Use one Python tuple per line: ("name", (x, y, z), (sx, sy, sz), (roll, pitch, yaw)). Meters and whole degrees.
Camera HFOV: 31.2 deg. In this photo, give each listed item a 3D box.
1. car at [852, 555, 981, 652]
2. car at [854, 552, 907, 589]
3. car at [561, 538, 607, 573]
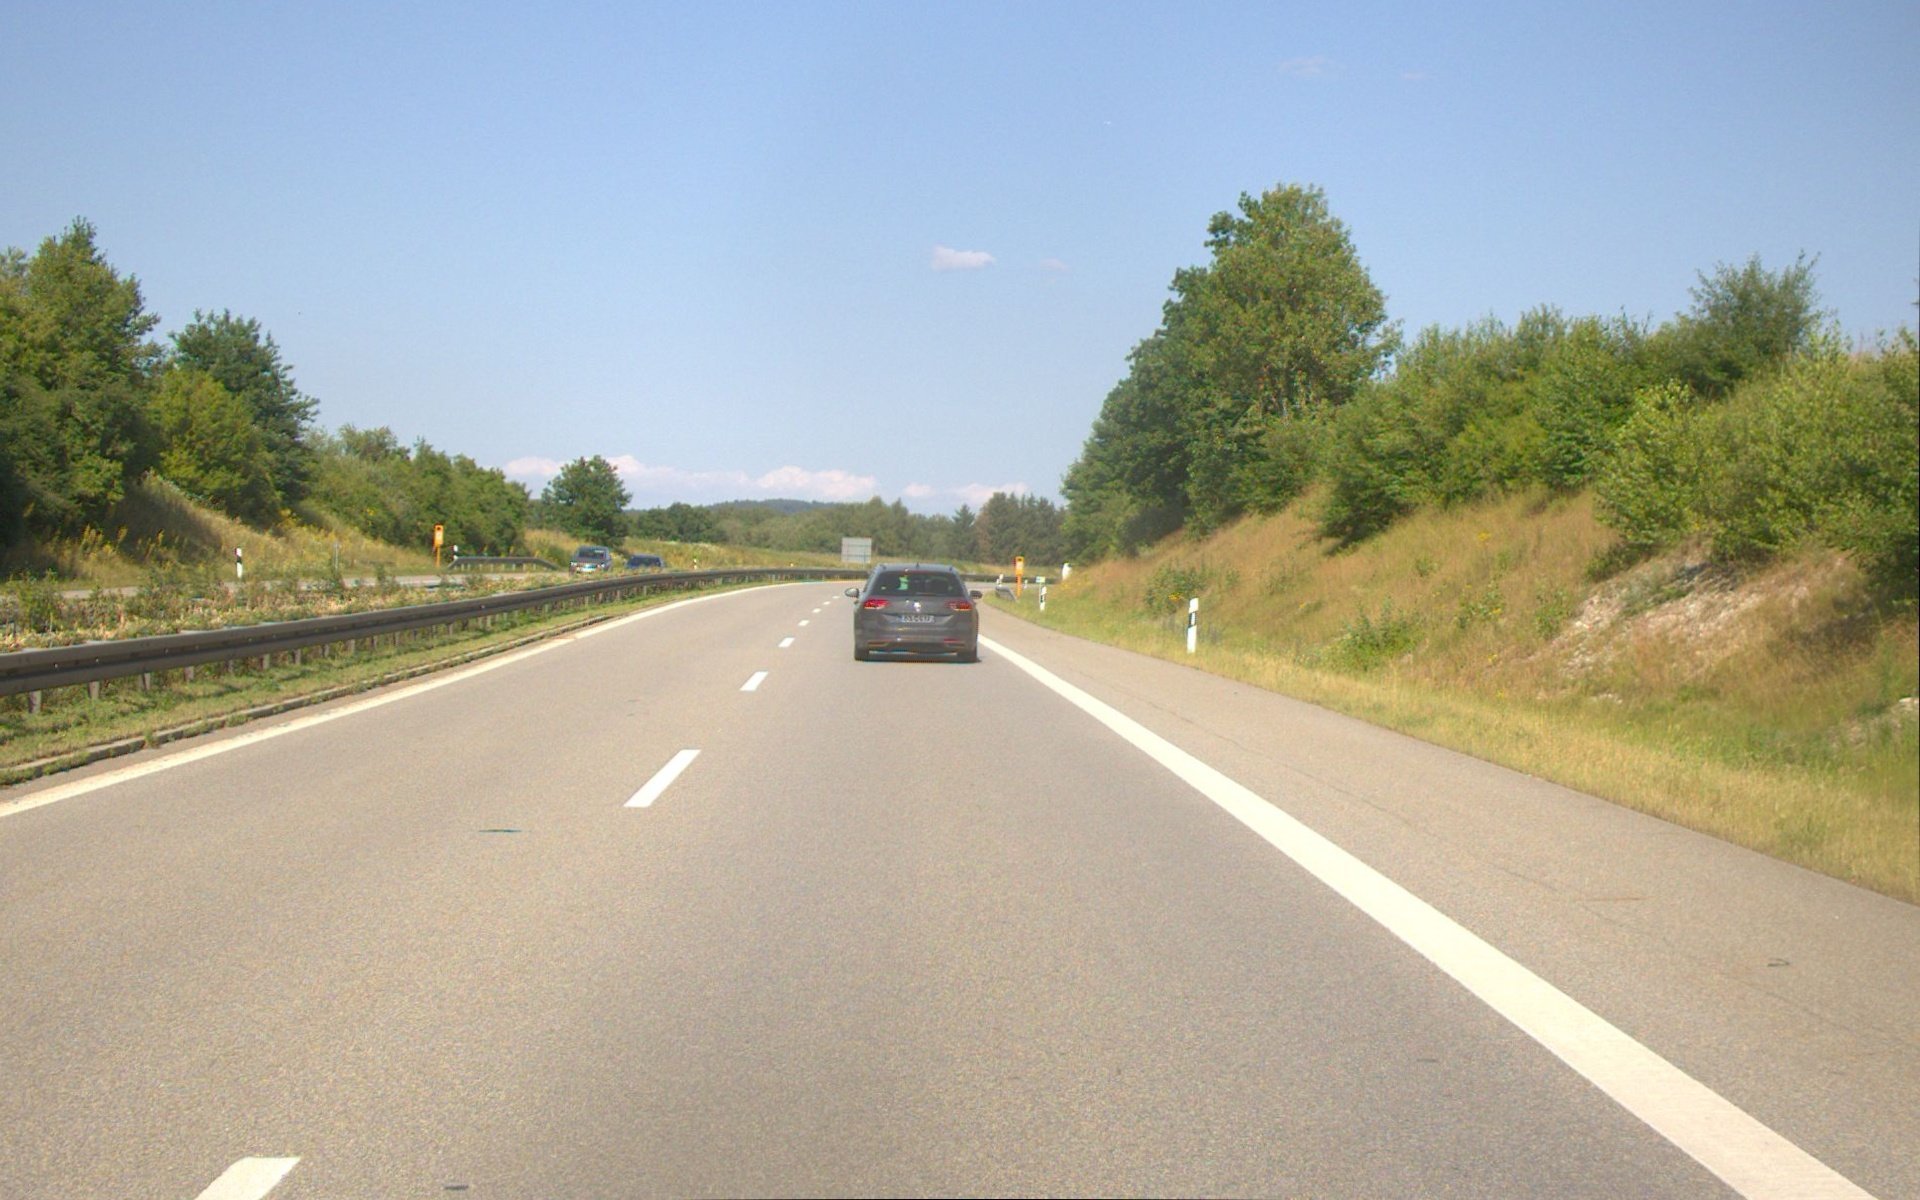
("car", (-0.635, 0.022, 50.600), (1.791, 1.340, 4.000), (1, 1, -1))
("car", (-3.414, -1.247, 146.193), (2.007, 1.340, 4.000), (6, 0, -3))
("car", (-18.193, -2.166, 166.533), (1.767, 1.579, 4.793), (3, 1, -2))
